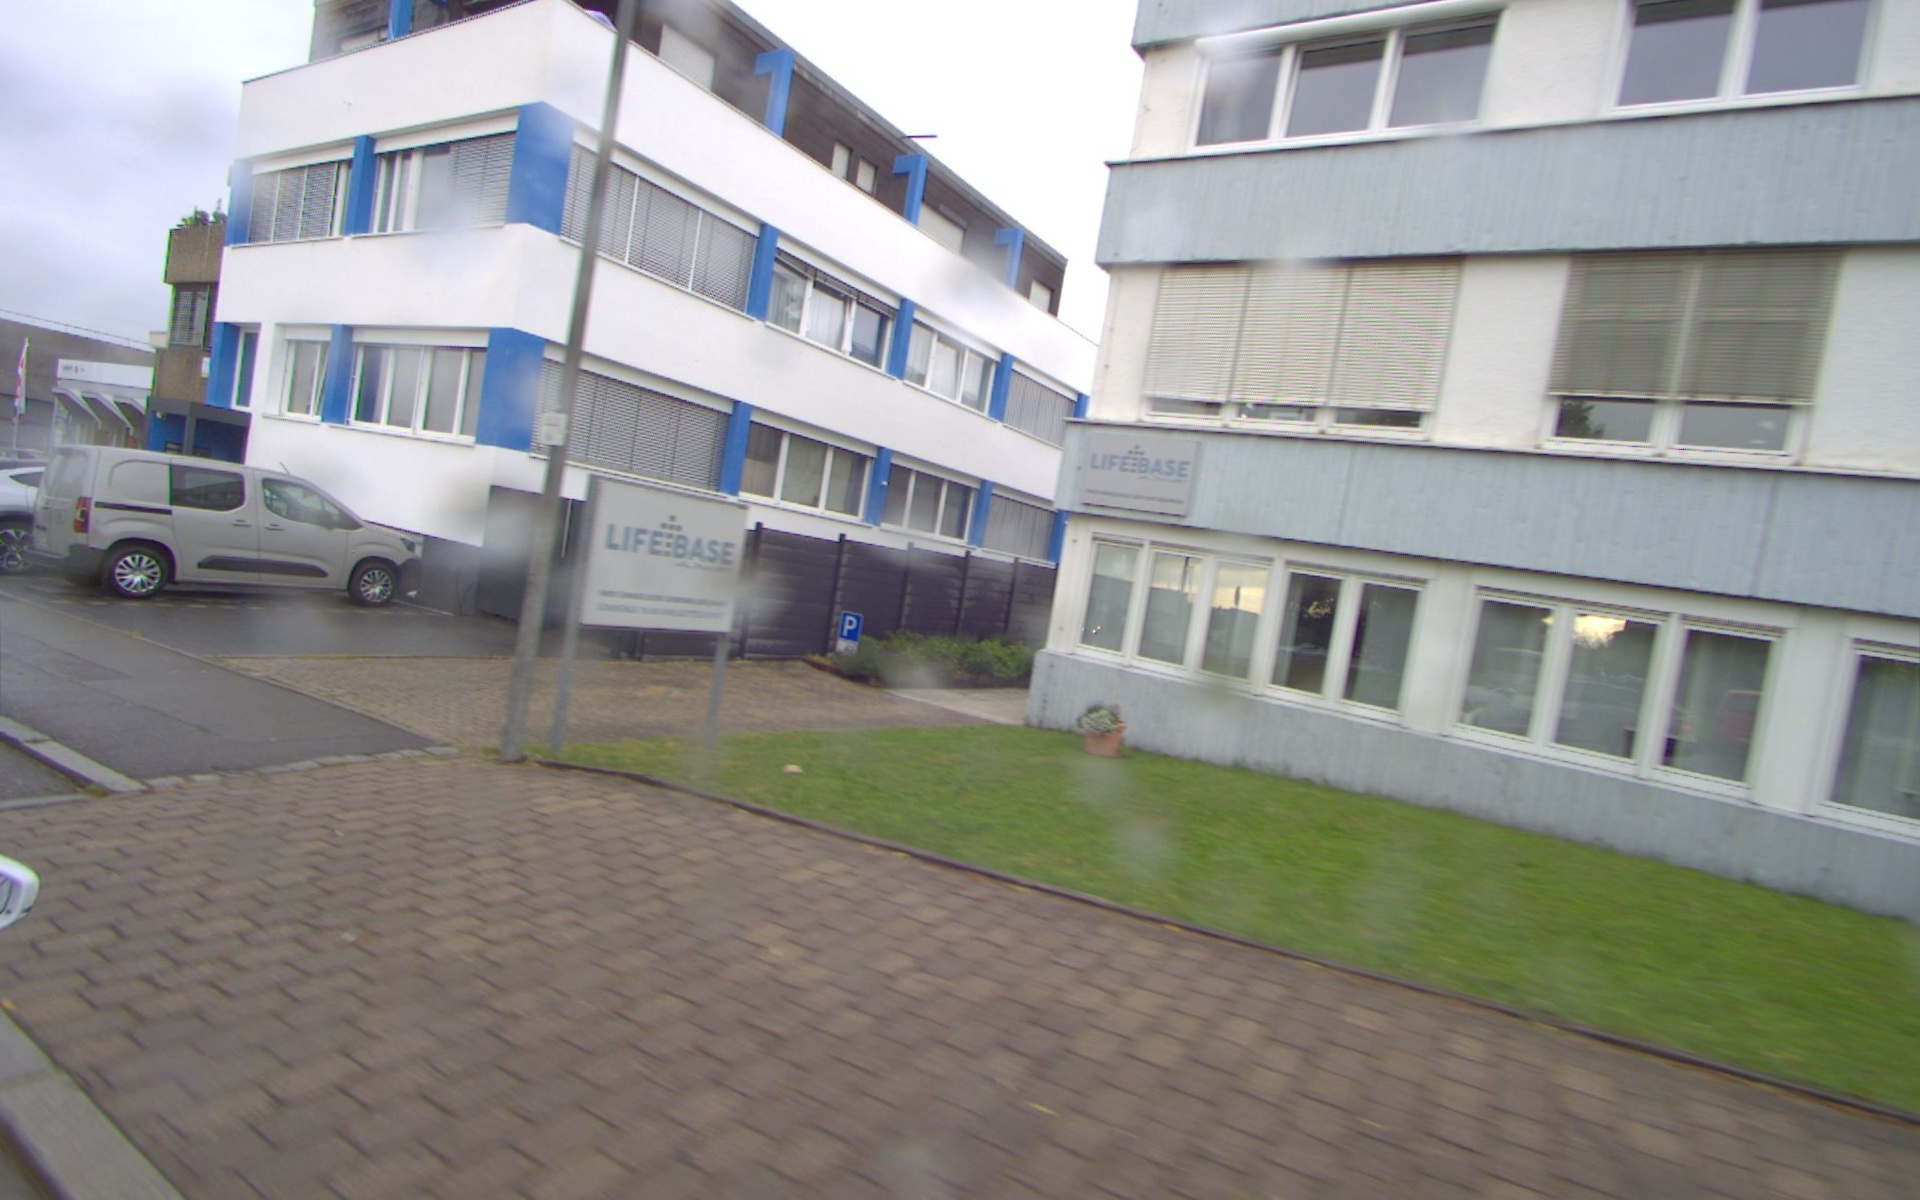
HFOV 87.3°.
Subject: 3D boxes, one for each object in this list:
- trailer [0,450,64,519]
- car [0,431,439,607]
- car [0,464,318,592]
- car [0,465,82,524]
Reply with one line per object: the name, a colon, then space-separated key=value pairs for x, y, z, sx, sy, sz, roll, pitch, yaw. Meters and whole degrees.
trailer: x=-38.401 y=-4.772 z=40.905 sx=4.239 sy=2.448 sz=1.886 roll=8 pitch=3 yaw=35
car: x=-9.839 y=-0.987 z=13.692 sx=2.054 sy=1.796 sz=4.342 roll=7 pitch=1 yaw=32
car: x=-12.602 y=-1.068 z=15.031 sx=2.045 sy=1.559 sz=4.595 roll=7 pitch=3 yaw=33
car: x=-29.182 y=-3.276 z=30.017 sx=1.971 sy=1.595 sz=4.118 roll=6 pitch=3 yaw=33
